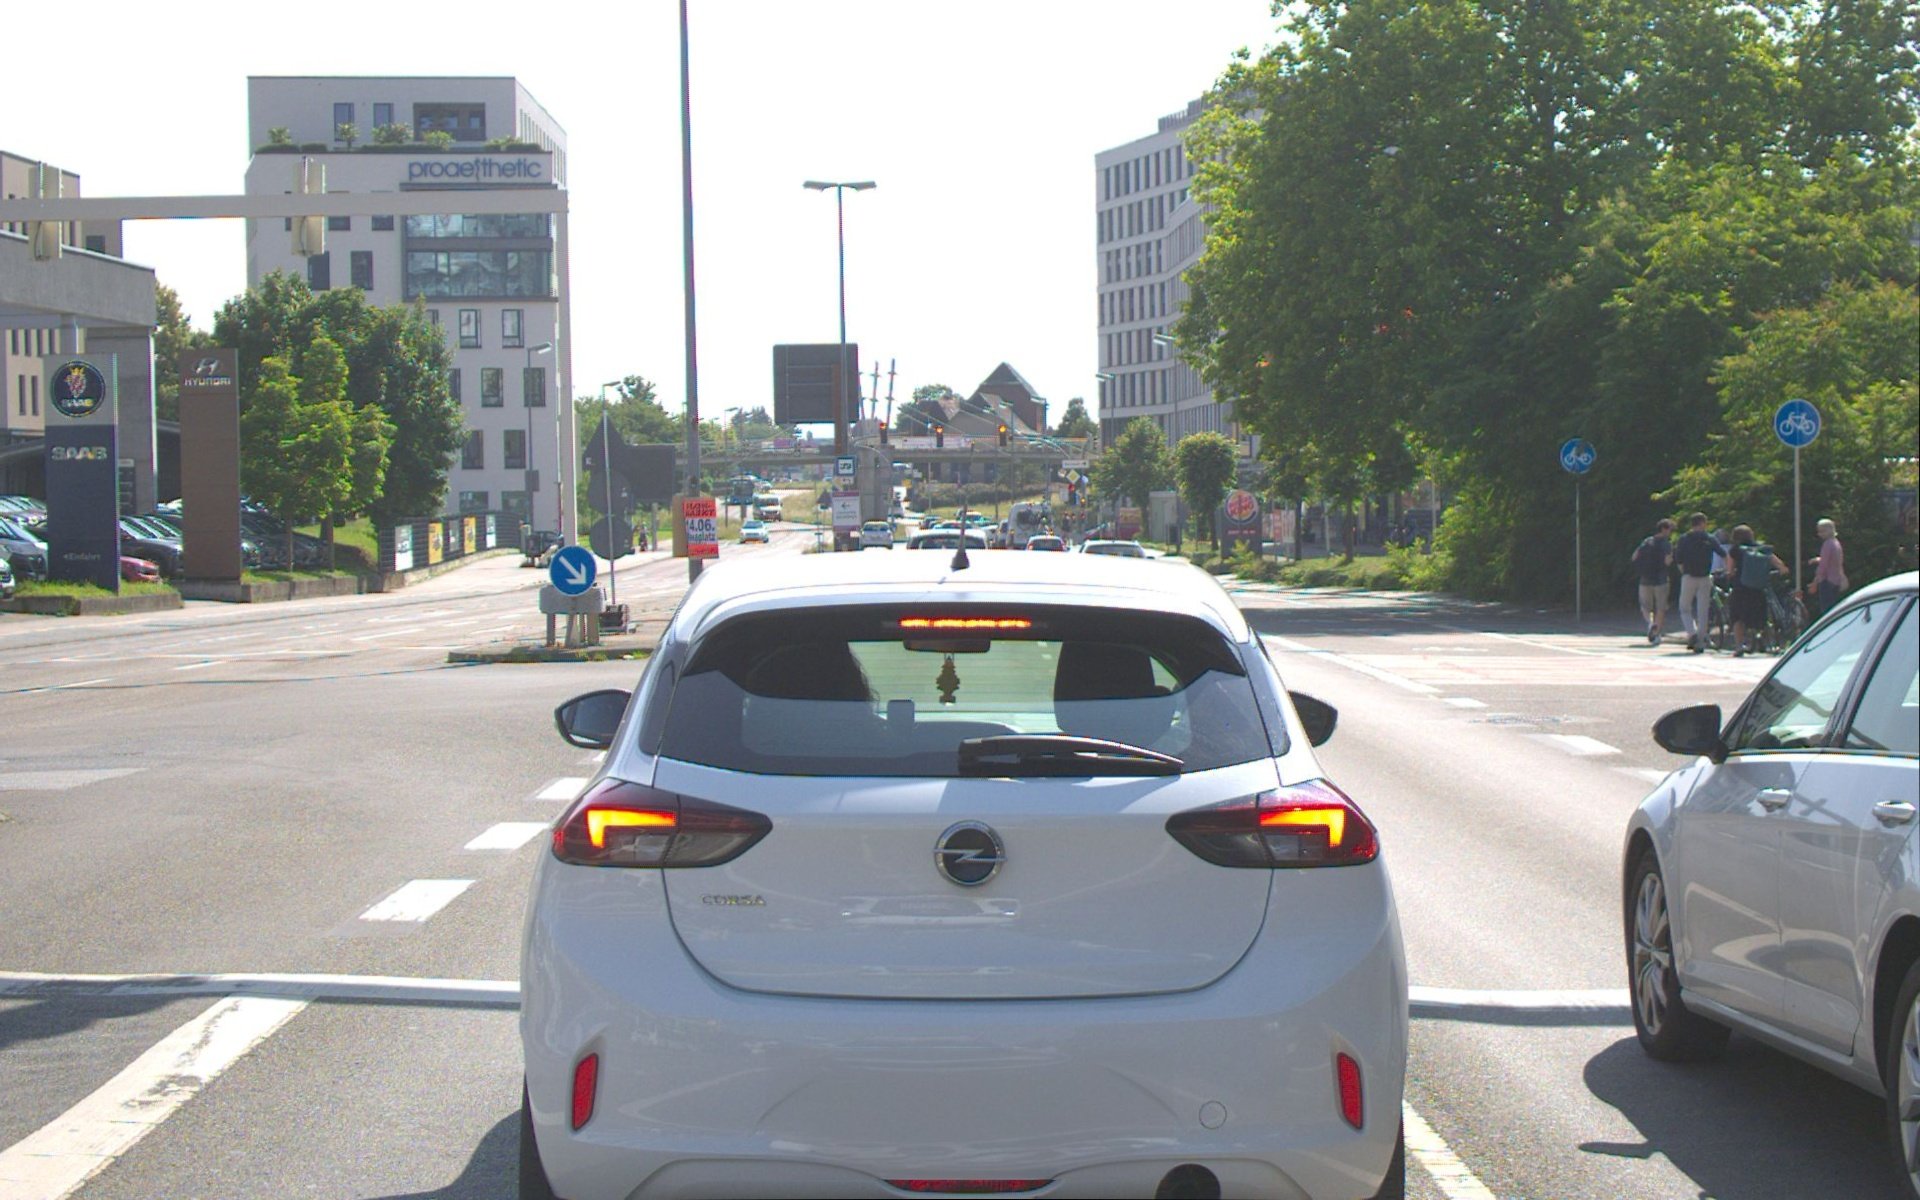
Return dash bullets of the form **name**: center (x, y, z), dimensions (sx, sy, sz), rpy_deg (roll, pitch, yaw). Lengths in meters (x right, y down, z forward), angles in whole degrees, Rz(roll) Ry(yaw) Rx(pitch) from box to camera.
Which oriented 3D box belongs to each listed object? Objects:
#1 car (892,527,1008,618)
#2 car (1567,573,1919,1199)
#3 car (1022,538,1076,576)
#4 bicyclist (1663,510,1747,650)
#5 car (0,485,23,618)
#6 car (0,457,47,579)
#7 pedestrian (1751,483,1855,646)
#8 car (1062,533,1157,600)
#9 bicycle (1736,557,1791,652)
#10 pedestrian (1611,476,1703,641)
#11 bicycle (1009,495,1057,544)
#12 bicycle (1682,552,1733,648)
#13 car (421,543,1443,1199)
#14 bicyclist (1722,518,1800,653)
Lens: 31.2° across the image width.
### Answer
- **car**: center (-0.175, -0.431, 56.898), dimensions (1.806, 1.381, 4.000), rpy_deg (2, -1, 0)
- **car**: center (2.841, 0.657, 8.488), dimensions (1.807, 1.424, 4.000), rpy_deg (-1, 1, -2)
- **car**: center (3.279, -1.585, 127.058), dimensions (1.806, 1.381, 4.000), rpy_deg (1, 0, -1)
- **bicyclist**: center (9.558, -0.261, 44.115), dimensions (0.879, 1.766, 0.864), rpy_deg (-1, 1, 0)
- **car**: center (-21.526, -0.963, 69.475), dimensions (4.498, 2.675, 2.128), rpy_deg (0, 1, 9)
- **car**: center (-22.358, -1.758, 74.776), dimensions (4.357, 2.592, 2.000), rpy_deg (-1, 1, 5)
- **pedestrian**: center (10.550, -0.447, 43.066), dimensions (1.027, 2.007, 1.039), rpy_deg (-1, 1, -1)
- **car**: center (3.201, -0.727, 74.191), dimensions (1.806, 1.381, 4.000), rpy_deg (1, 0, -1)
- **bicycle**: center (9.863, 0.048, 42.218), dimensions (0.373, 1.143, 1.034), rpy_deg (1, 0, -2)
- **pedestrian**: center (9.545, -0.574, 47.090), dimensions (1.027, 2.231, 1.039), rpy_deg (-1, 1, -1)
- **bicycle**: center (3.287, -3.641, 155.510), dimensions (1.993, 2.150, 4.000), rpy_deg (-1, 1, -1)
- **bicycle**: center (9.580, -0.006, 44.076), dimensions (0.372, 1.212, 1.154), rpy_deg (1, 1, 0)
- **car**: center (-0.072, 0.622, 7.994), dimensions (1.779, 1.489, 4.000), rpy_deg (0, 1, -1)
- **bicyclist**: center (9.843, -0.183, 42.250), dimensions (0.688, 1.637, 0.777), rpy_deg (-1, 1, -9)
